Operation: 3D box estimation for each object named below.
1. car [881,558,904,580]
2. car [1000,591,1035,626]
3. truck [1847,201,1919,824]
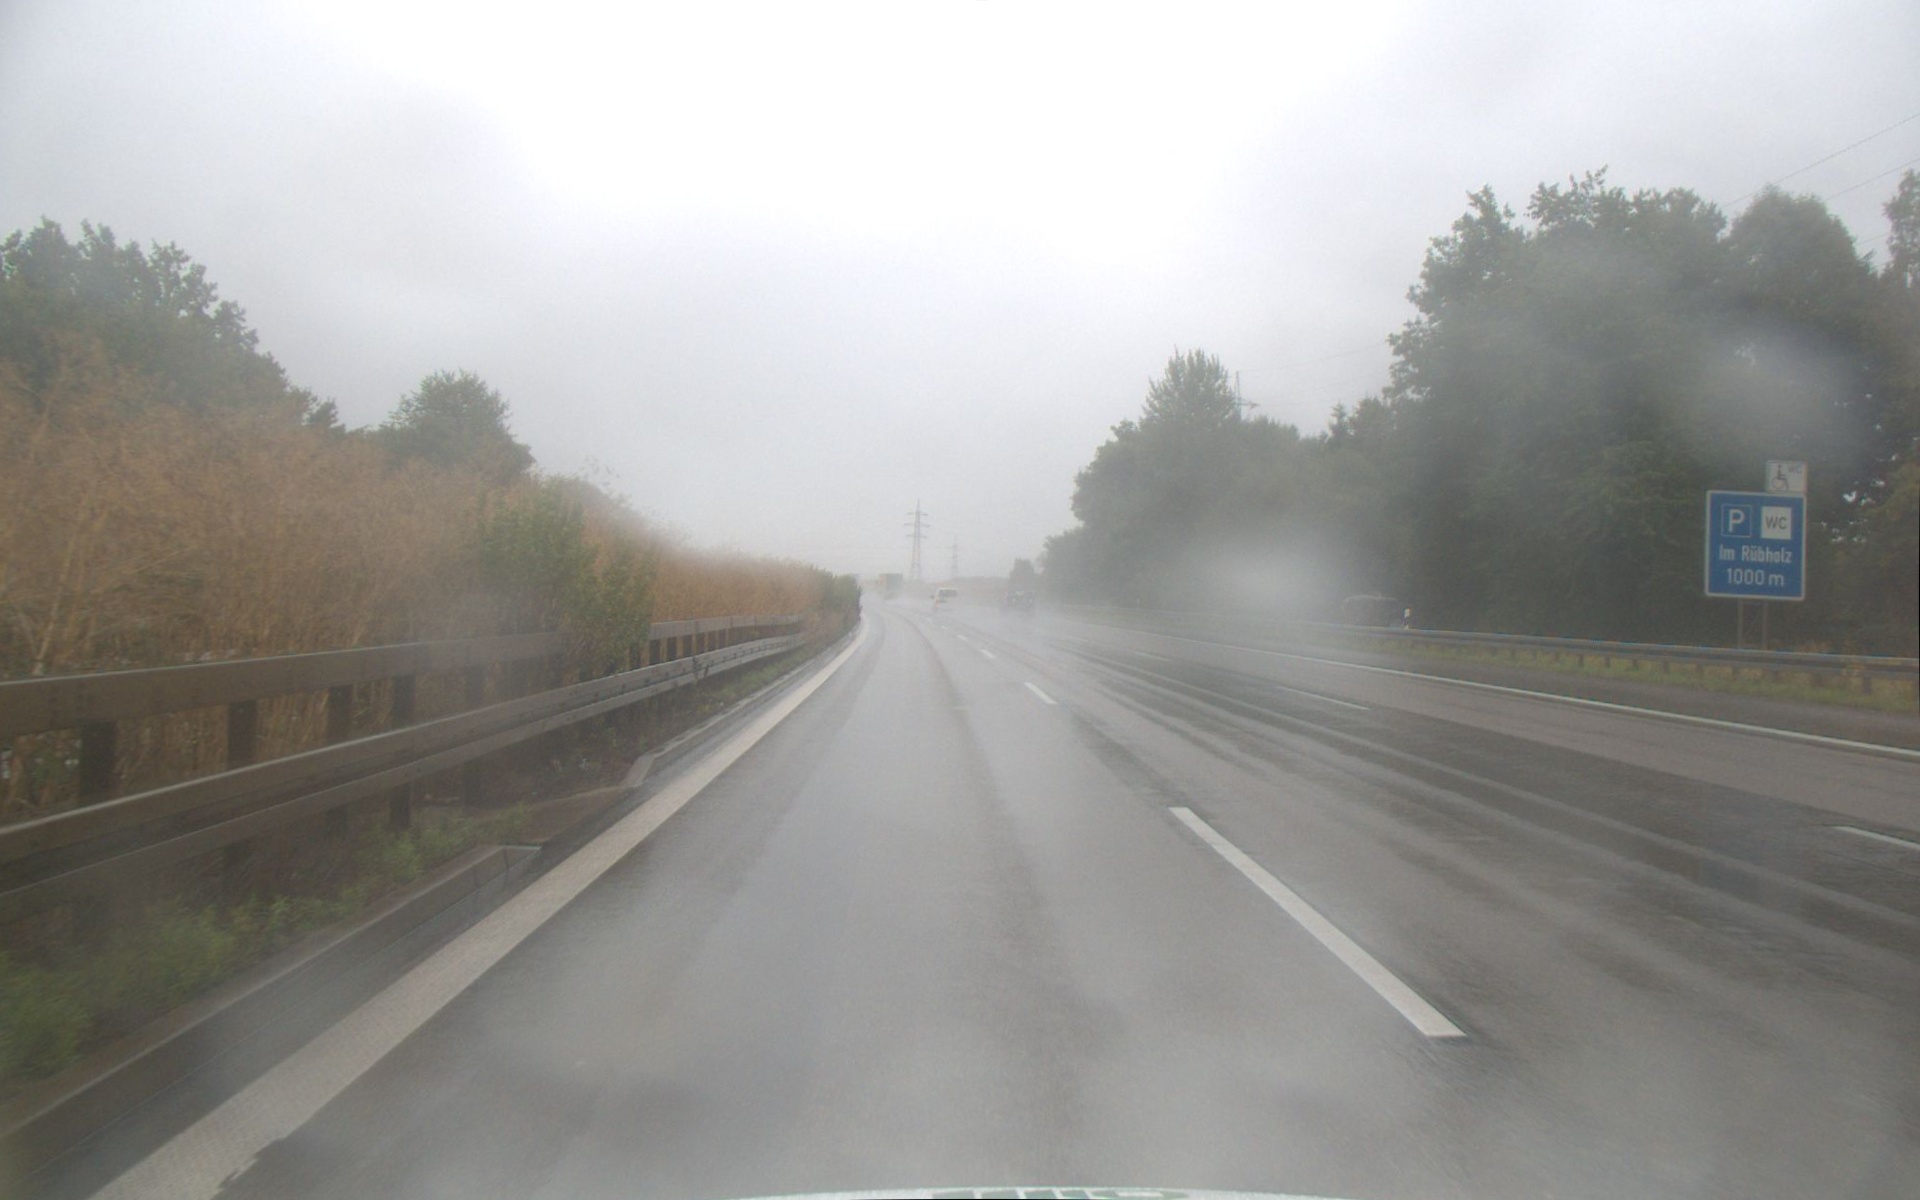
[{"bbox_3d":[-10.434,-4.740,254.131,3.138,3.248,7.248,1,0,-6],"label":"car"},{"bbox_3d":[3.648,0.531,105.535,1.771,2.196,3.996,1,0,-5],"label":"car"},{"bbox_3d":[7.533,-0.556,8.829,2.567,4.024,5.431,0,0,-2],"label":"truck"}]
